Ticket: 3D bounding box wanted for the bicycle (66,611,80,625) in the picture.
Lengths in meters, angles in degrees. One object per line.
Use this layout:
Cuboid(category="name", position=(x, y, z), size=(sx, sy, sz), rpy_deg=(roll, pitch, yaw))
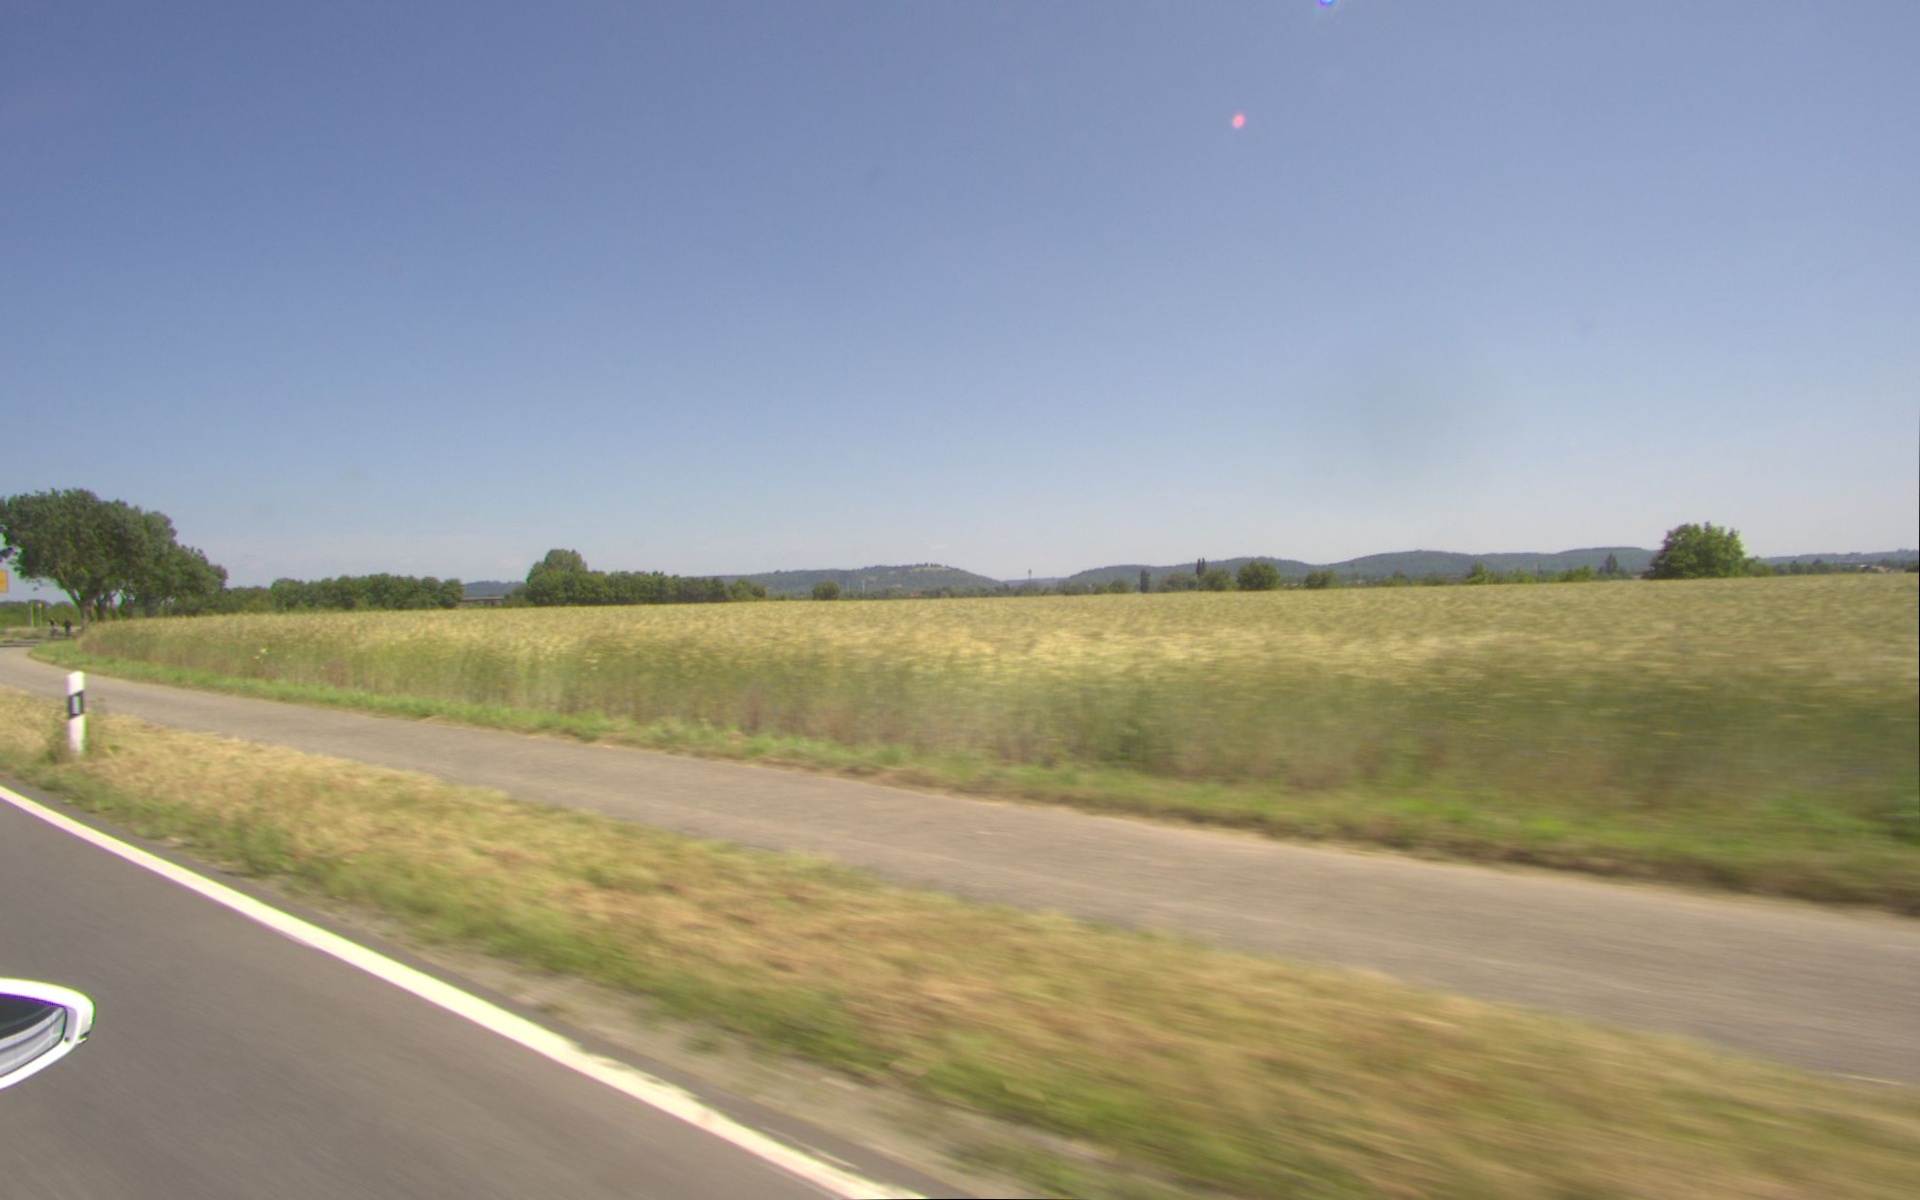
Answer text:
Cuboid(category="bicycle", position=(-80.585, 1.673, 90.977), size=(0.692, 1.225, 2.036), rpy_deg=(2, -2, -36))
